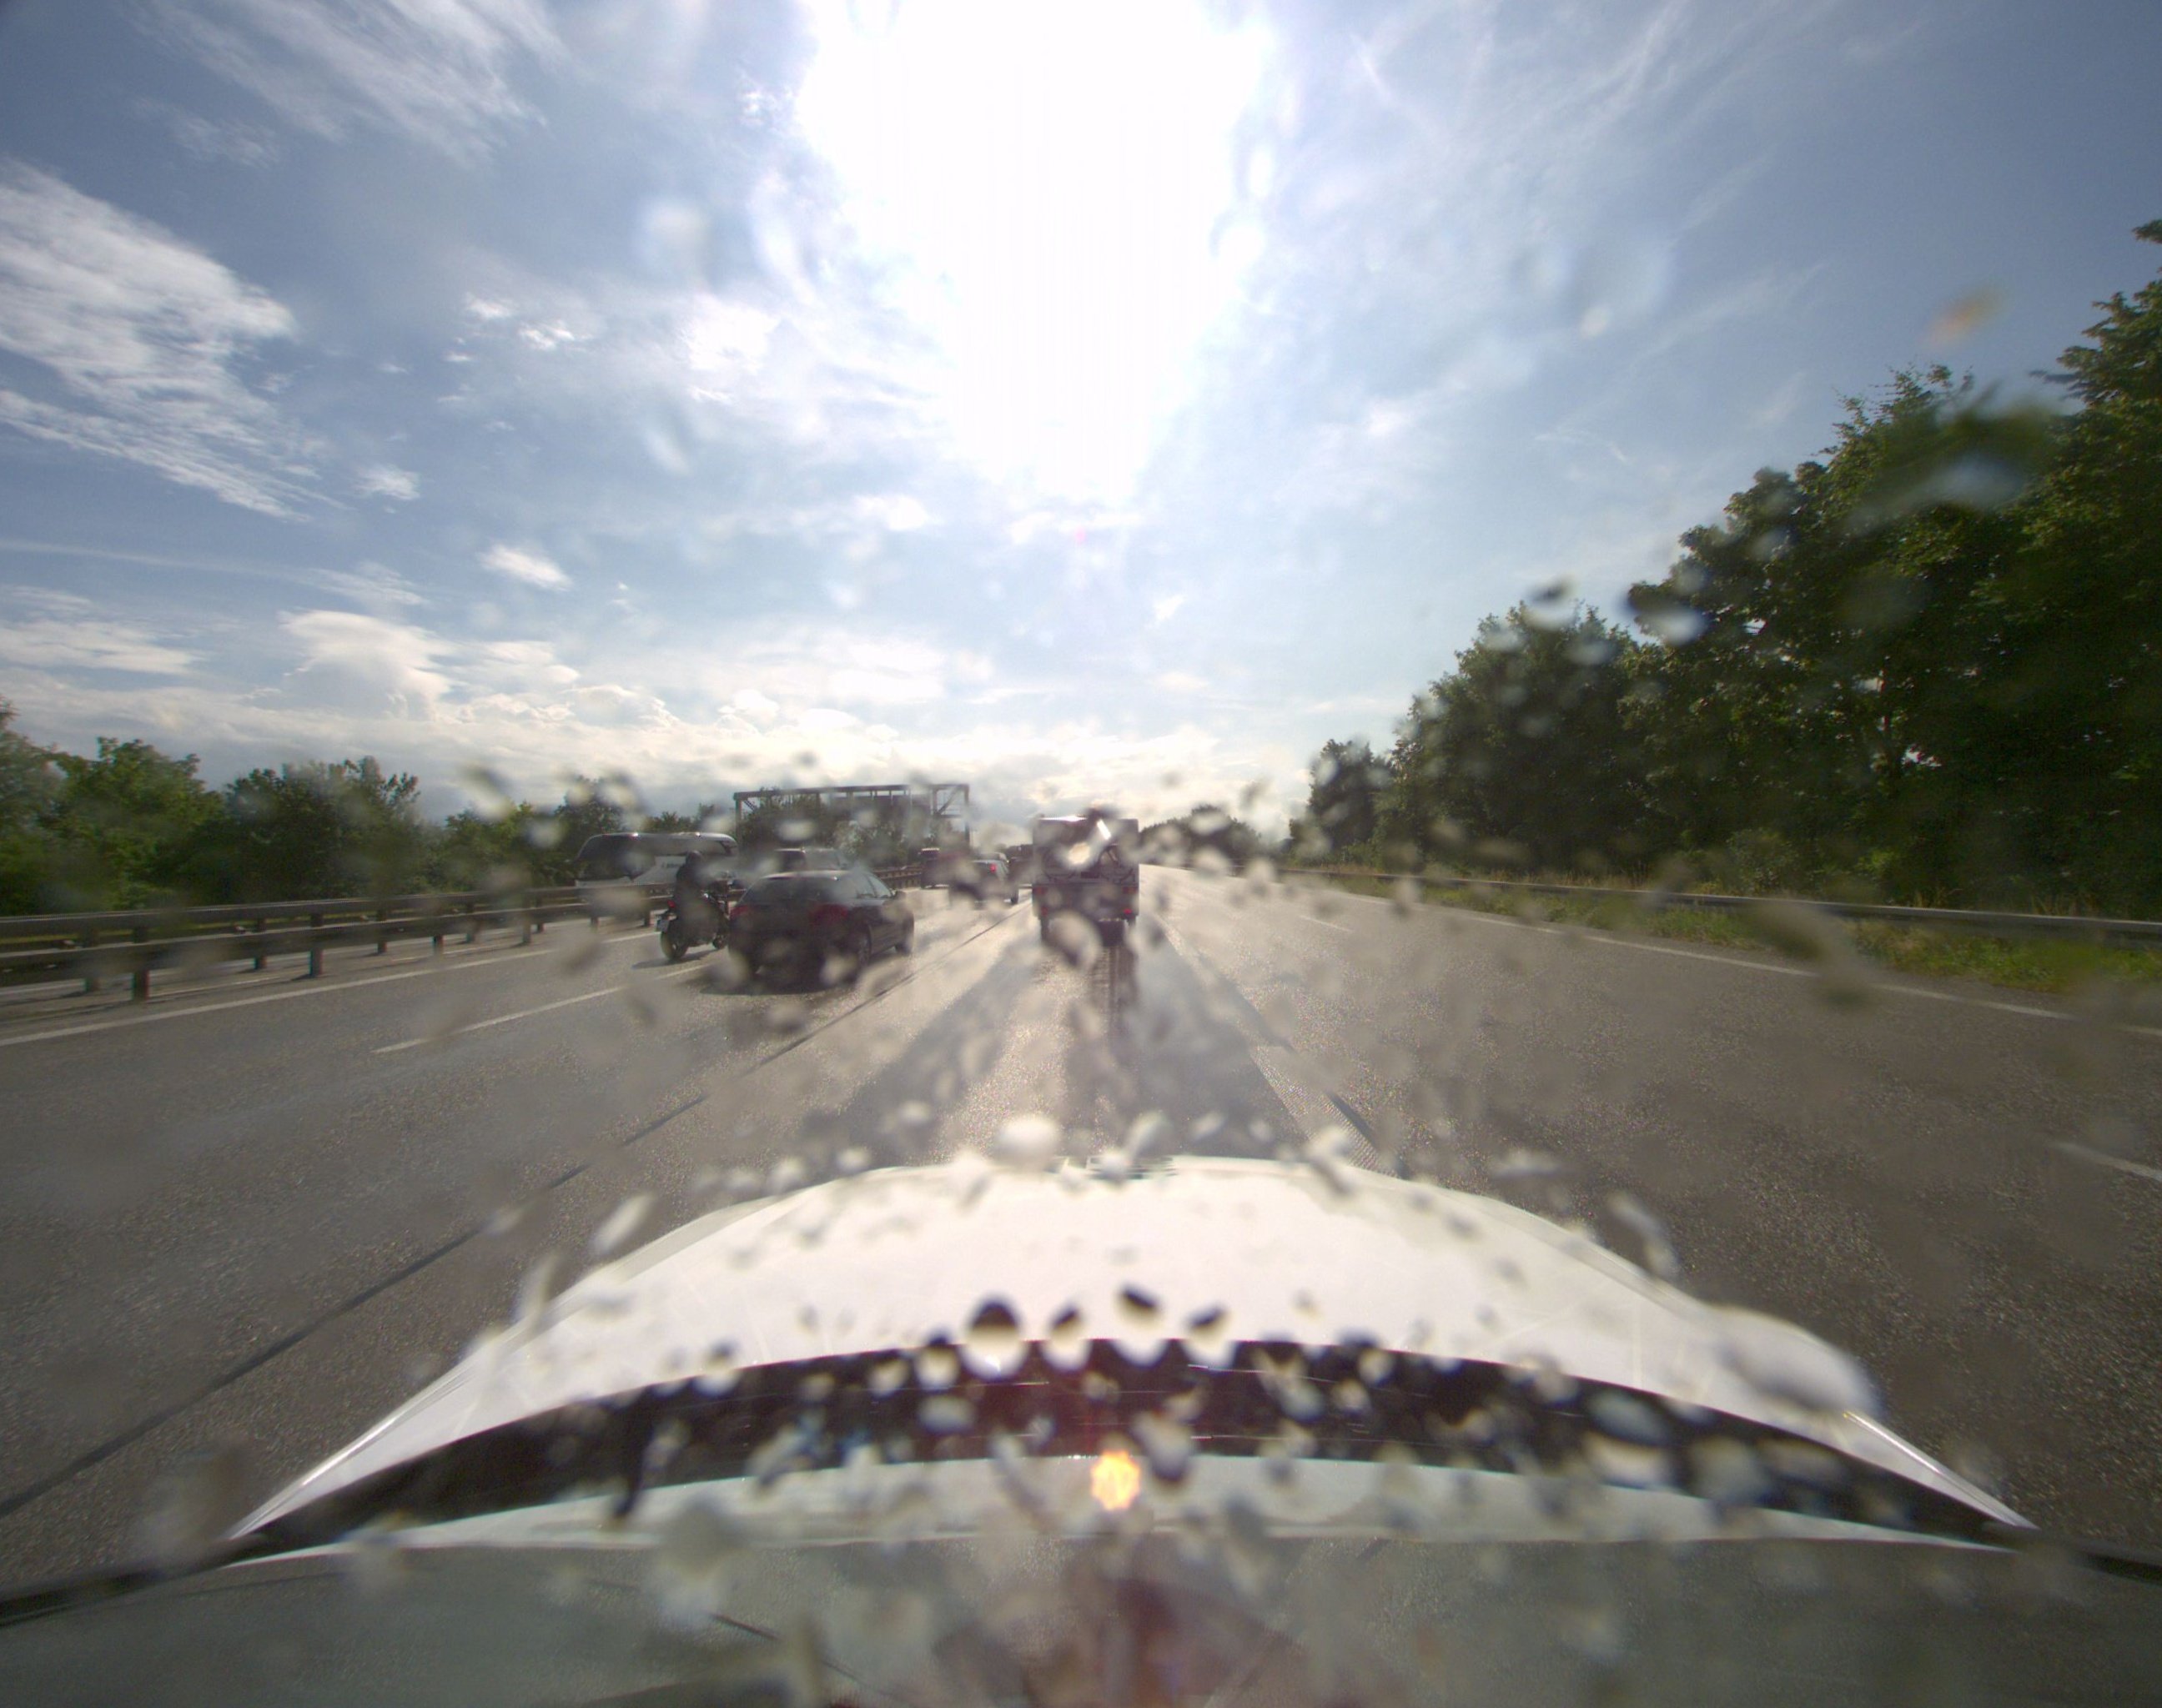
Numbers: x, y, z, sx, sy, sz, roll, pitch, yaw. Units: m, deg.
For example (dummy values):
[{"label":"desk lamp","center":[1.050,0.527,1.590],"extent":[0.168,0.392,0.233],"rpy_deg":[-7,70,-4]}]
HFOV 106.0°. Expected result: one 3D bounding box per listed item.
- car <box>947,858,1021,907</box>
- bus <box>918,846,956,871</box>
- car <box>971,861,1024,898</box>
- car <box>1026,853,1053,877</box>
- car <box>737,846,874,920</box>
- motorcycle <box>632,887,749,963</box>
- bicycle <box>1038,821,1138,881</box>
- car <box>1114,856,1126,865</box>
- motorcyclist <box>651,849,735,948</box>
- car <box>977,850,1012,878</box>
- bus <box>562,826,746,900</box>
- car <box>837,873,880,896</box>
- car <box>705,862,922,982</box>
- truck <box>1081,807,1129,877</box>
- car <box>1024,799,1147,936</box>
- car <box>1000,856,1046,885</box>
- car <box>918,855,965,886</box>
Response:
[{"label":"car","center":[-3.107,0.886,26.852],"extent":[1.751,1.443,4.003],"rpy_deg":[-1,0,3]},{"label":"bus","center":[-19.703,0.631,112.179],"extent":[2.930,3.286,12.209],"rpy_deg":[-1,0,0]},{"label":"car","center":[-3.638,1.081,36.162],"extent":[1.856,1.508,4.001],"rpy_deg":[-1,0,1]},{"label":"car","center":[-2.948,0.745,58.453],"extent":[1.682,1.662,3.642],"rpy_deg":[-1,0,2]},{"label":"car","center":[-7.656,0.743,23.309],"extent":[1.799,1.844,5.422],"rpy_deg":[-1,0,3]},{"label":"motorcycle","center":[-6.284,1.109,13.286],"extent":[0.688,1.027,2.389],"rpy_deg":[-1,0,2]},{"label":"bicycle","center":[0.146,-0.054,15.884],"extent":[1.925,1.141,0.384],"rpy_deg":[0,-1,3]},{"label":"car","center":[6.821,1.093,141.913],"extent":[1.830,1.558,3.997],"rpy_deg":[0,-1,-2]},{"label":"motorcyclist","center":[-6.294,0.695,13.267],"extent":[0.793,1.537,1.093],"rpy_deg":[-1,0,2]},{"label":"car","center":[-6.234,0.684,59.201],"extent":[1.841,1.934,5.018],"rpy_deg":[-1,0,1]},{"label":"bus","center":[-22.248,0.430,43.748],"extent":[2.880,3.374,12.476],"rpy_deg":[-1,0,2]},{"label":"car","center":[-15.391,2.057,56.453],"extent":[1.769,1.442,4.001],"rpy_deg":[-1,0,1]},{"label":"car","center":[-3.714,0.860,12.126],"extent":[1.743,1.433,4.056],"rpy_deg":[-1,0,2]},{"label":"truck","center":[1.729,-0.753,59.569],"extent":[3.135,4.626,10.737],"rpy_deg":[-1,0,1]},{"label":"car","center":[0.188,0.284,18.063],"extent":[2.401,2.674,4.003],"rpy_deg":[0,-1,3]},{"label":"car","center":[-3.030,0.857,43.174],"extent":[1.979,1.458,3.829],"rpy_deg":[-1,0,3]},{"label":"car","center":[-7.432,0.867,43.715],"extent":[1.777,1.578,3.916],"rpy_deg":[-1,0,1]}]
